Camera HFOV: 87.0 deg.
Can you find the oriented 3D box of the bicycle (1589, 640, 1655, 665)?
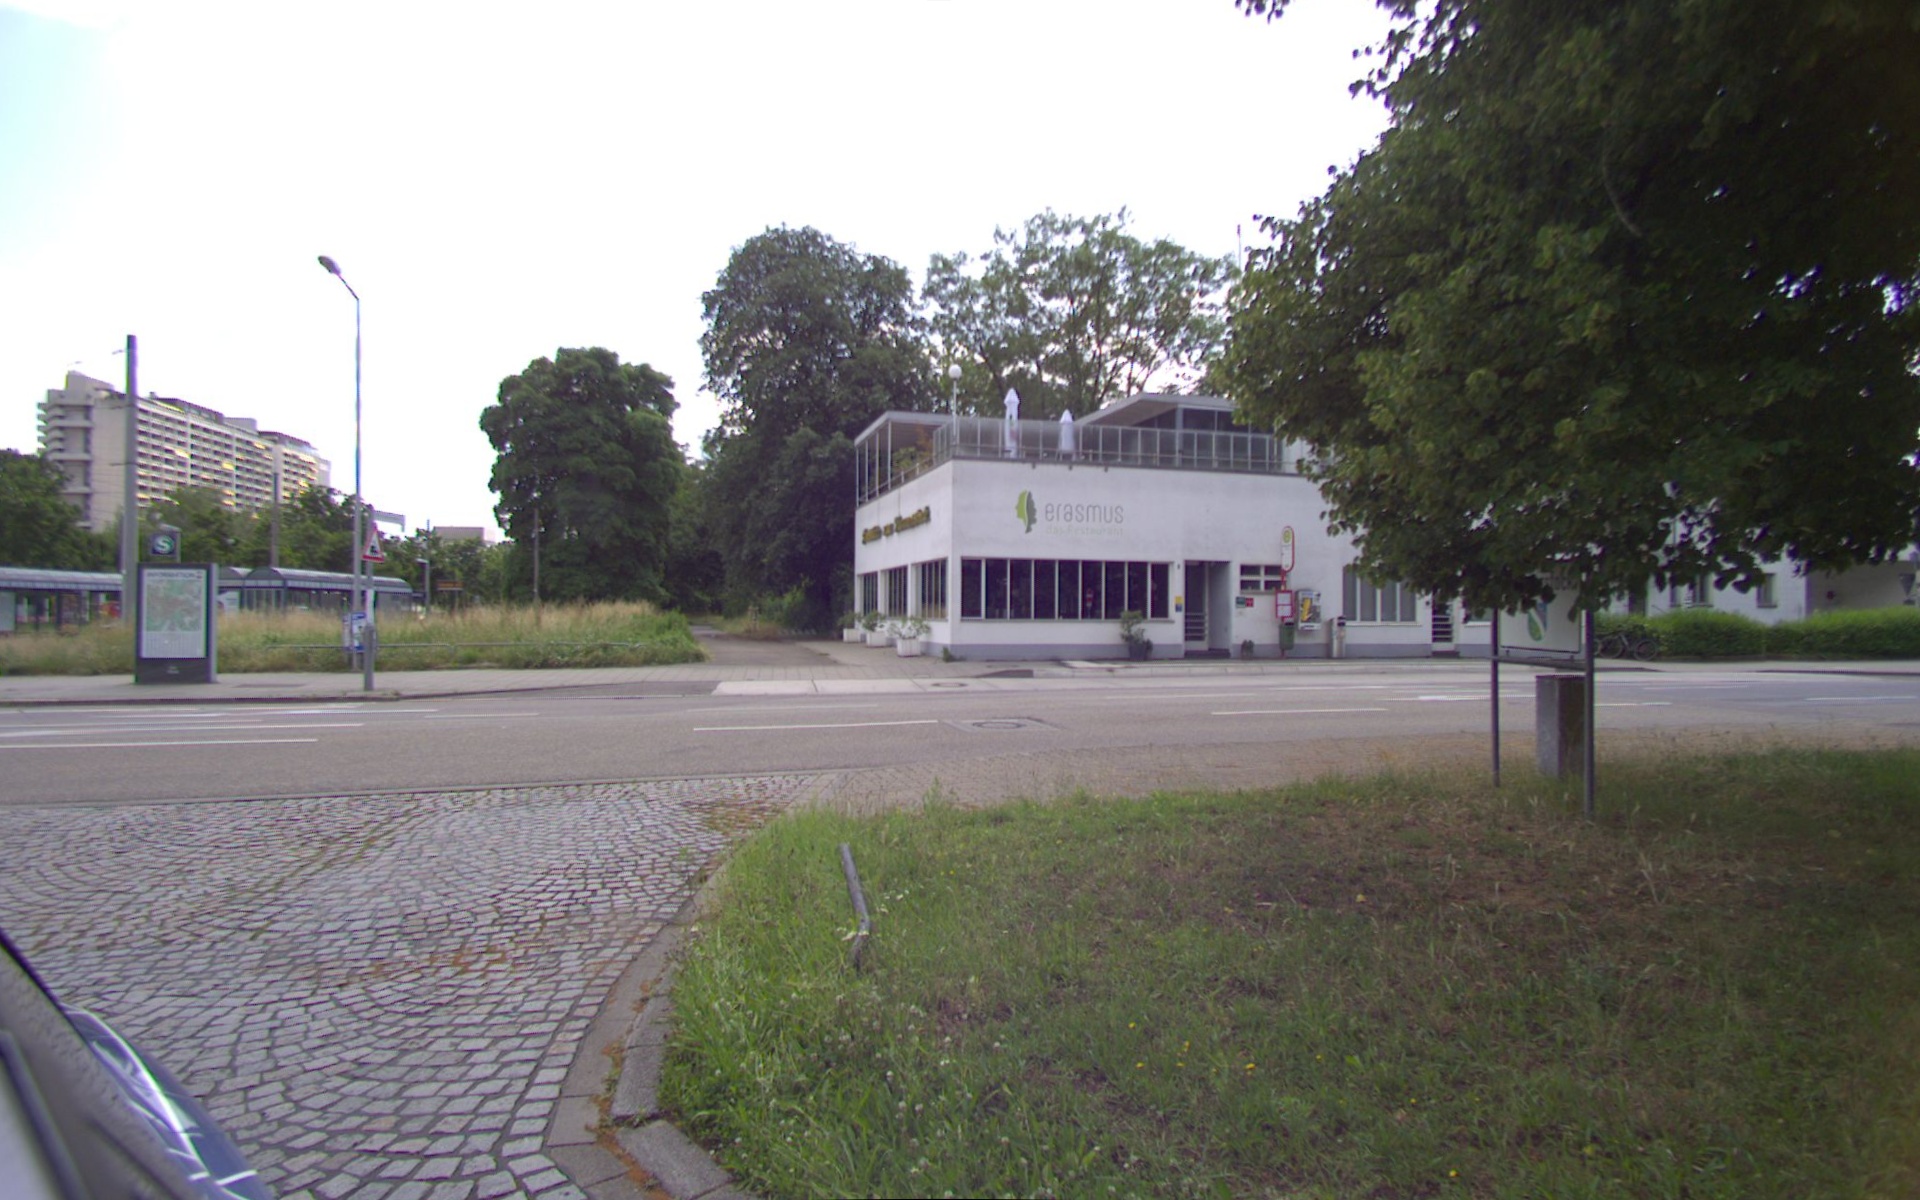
[{"bbox_3d":[20.609,1.625,31.517,0.404,0.763,1.679,1,-2,-34],"label":"bicycle"}]
